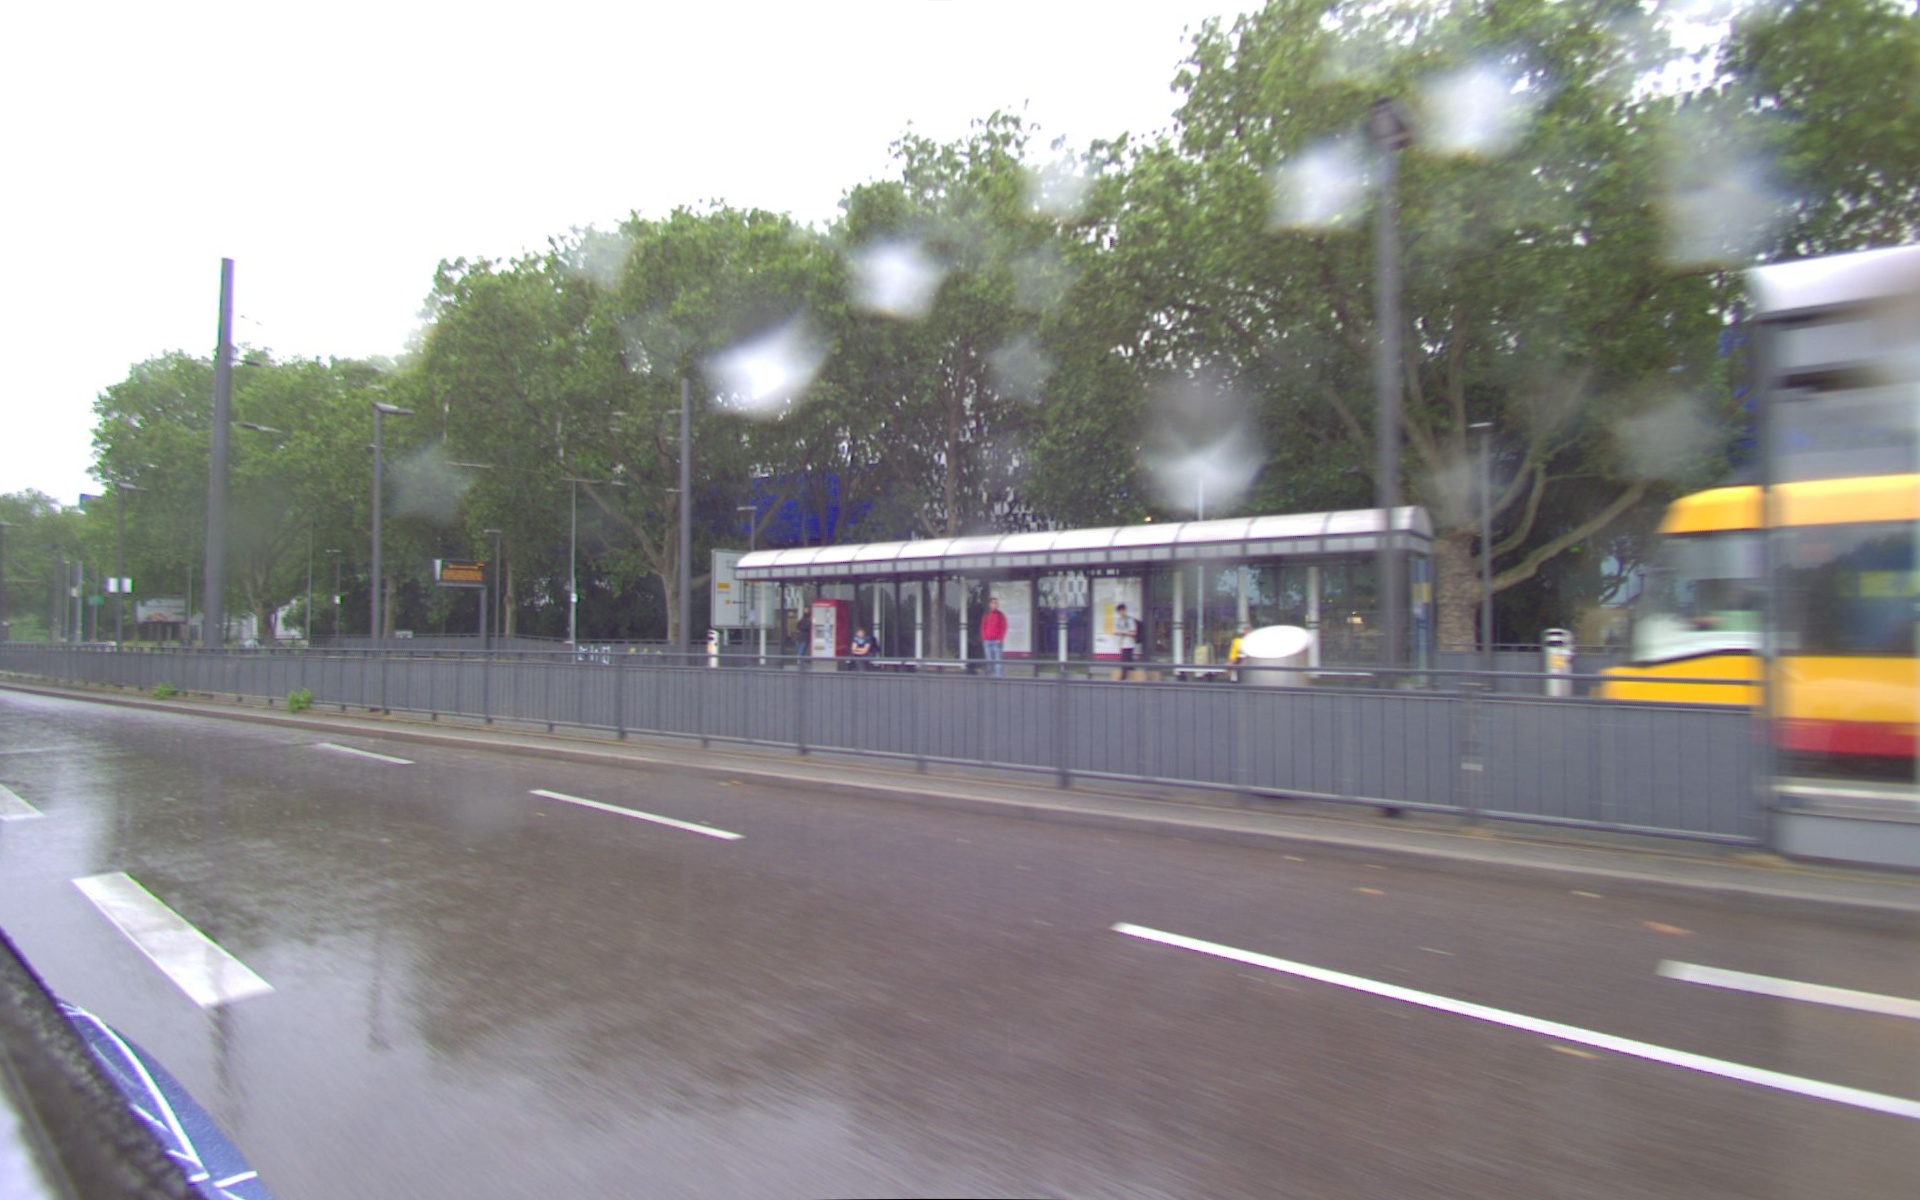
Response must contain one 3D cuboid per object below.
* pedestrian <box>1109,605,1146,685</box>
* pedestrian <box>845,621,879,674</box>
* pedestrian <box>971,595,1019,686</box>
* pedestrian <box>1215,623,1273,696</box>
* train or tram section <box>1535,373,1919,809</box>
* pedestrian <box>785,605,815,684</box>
[{"bbox_3d":[3.411,0.905,20.557,0.666,1.573,0.824,-1,-1,13],"label":"pedestrian"},{"bbox_3d":[-2.412,1.154,24.891,0.664,1.277,0.488,-2,-1,43],"label":"pedestrian"},{"bbox_3d":[0.765,0.877,22.110,0.814,1.947,0.614,-2,-1,43],"label":"pedestrian"},{"bbox_3d":[5.339,1.107,19.023,0.814,1.313,0.636,-2,-1,43],"label":"pedestrian"},{"bbox_3d":[18.353,-0.329,4.636,27.047,4.067,3.735,-2,-1,37],"label":"train or tram section"},{"bbox_3d":[-4.175,1.145,26.367,0.582,2.029,0.488,-2,-1,39],"label":"pedestrian"}]
